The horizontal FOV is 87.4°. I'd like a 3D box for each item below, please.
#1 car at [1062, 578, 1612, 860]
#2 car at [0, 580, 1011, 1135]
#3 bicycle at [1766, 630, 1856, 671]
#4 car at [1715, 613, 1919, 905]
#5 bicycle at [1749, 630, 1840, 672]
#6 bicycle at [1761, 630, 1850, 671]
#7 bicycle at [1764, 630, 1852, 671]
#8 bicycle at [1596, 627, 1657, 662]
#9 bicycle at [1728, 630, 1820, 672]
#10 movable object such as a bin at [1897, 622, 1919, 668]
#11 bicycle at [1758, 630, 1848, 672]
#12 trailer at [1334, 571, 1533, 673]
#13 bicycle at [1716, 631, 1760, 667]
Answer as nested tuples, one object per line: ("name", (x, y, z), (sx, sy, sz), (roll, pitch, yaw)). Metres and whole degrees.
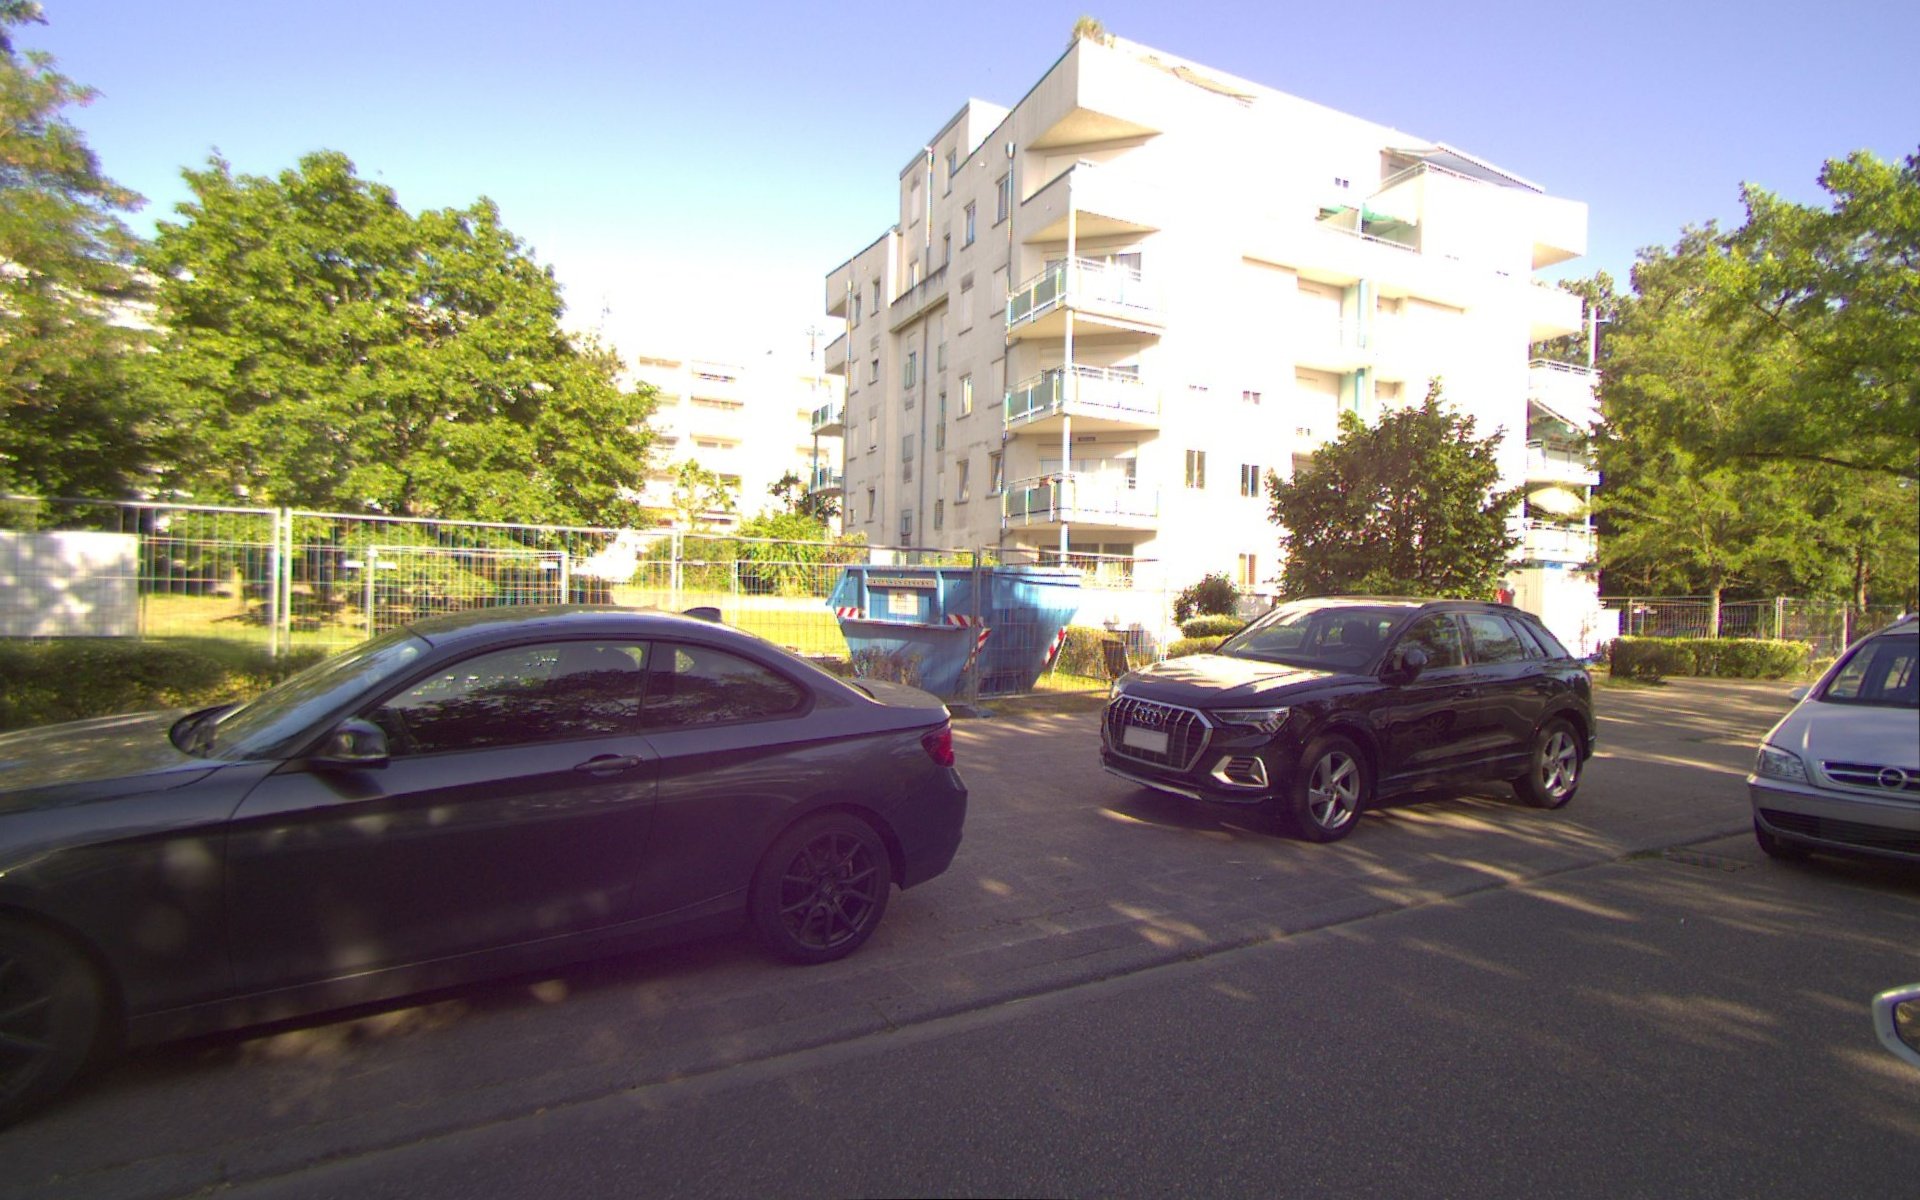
("car", (3.011, 0.733, 7.800), (4.172, 1.643, 1.766), (1, 2, -31))
("car", (-1.943, 0.712, 4.164), (4.095, 1.452, 1.705), (1, 2, -35))
("bicycle", (23.944, 1.411, 28.294), (0.398, 1.040, 1.896), (2, -1, -43))
("car", (6.927, 0.932, 6.764), (3.964, 1.617, 1.650), (2, -2, -32))
("bicycle", (22.523, 1.353, 27.134), (0.398, 1.040, 1.838), (2, -1, -43))
("bicycle", (23.280, 1.385, 27.691), (0.398, 1.040, 1.841), (2, -1, -43))
("bicycle", (23.600, 1.395, 27.972), (0.398, 1.040, 1.820), (2, -1, -43))
("bicycle", (21.477, 1.426, 32.399), (0.395, 1.040, 1.690), (2, -1, -24))
("bicycle", (21.661, 1.347, 26.767), (0.398, 1.040, 1.851), (2, -1, -43))
("movable object such as a bin", (30.967, 1.441, 31.856), (1.300, 1.454, 1.273), (1, 0, -2))
("bicycle", (22.936, 1.369, 27.354), (0.398, 1.040, 1.821), (2, -1, -43))
("trailer", (10.885, 0.497, 23.052), (4.290, 2.149, 1.856), (1, 2, -27))
("bicycle", (23.720, 1.494, 30.622), (1.680, 1.040, 0.397), (2, -1, -29))
